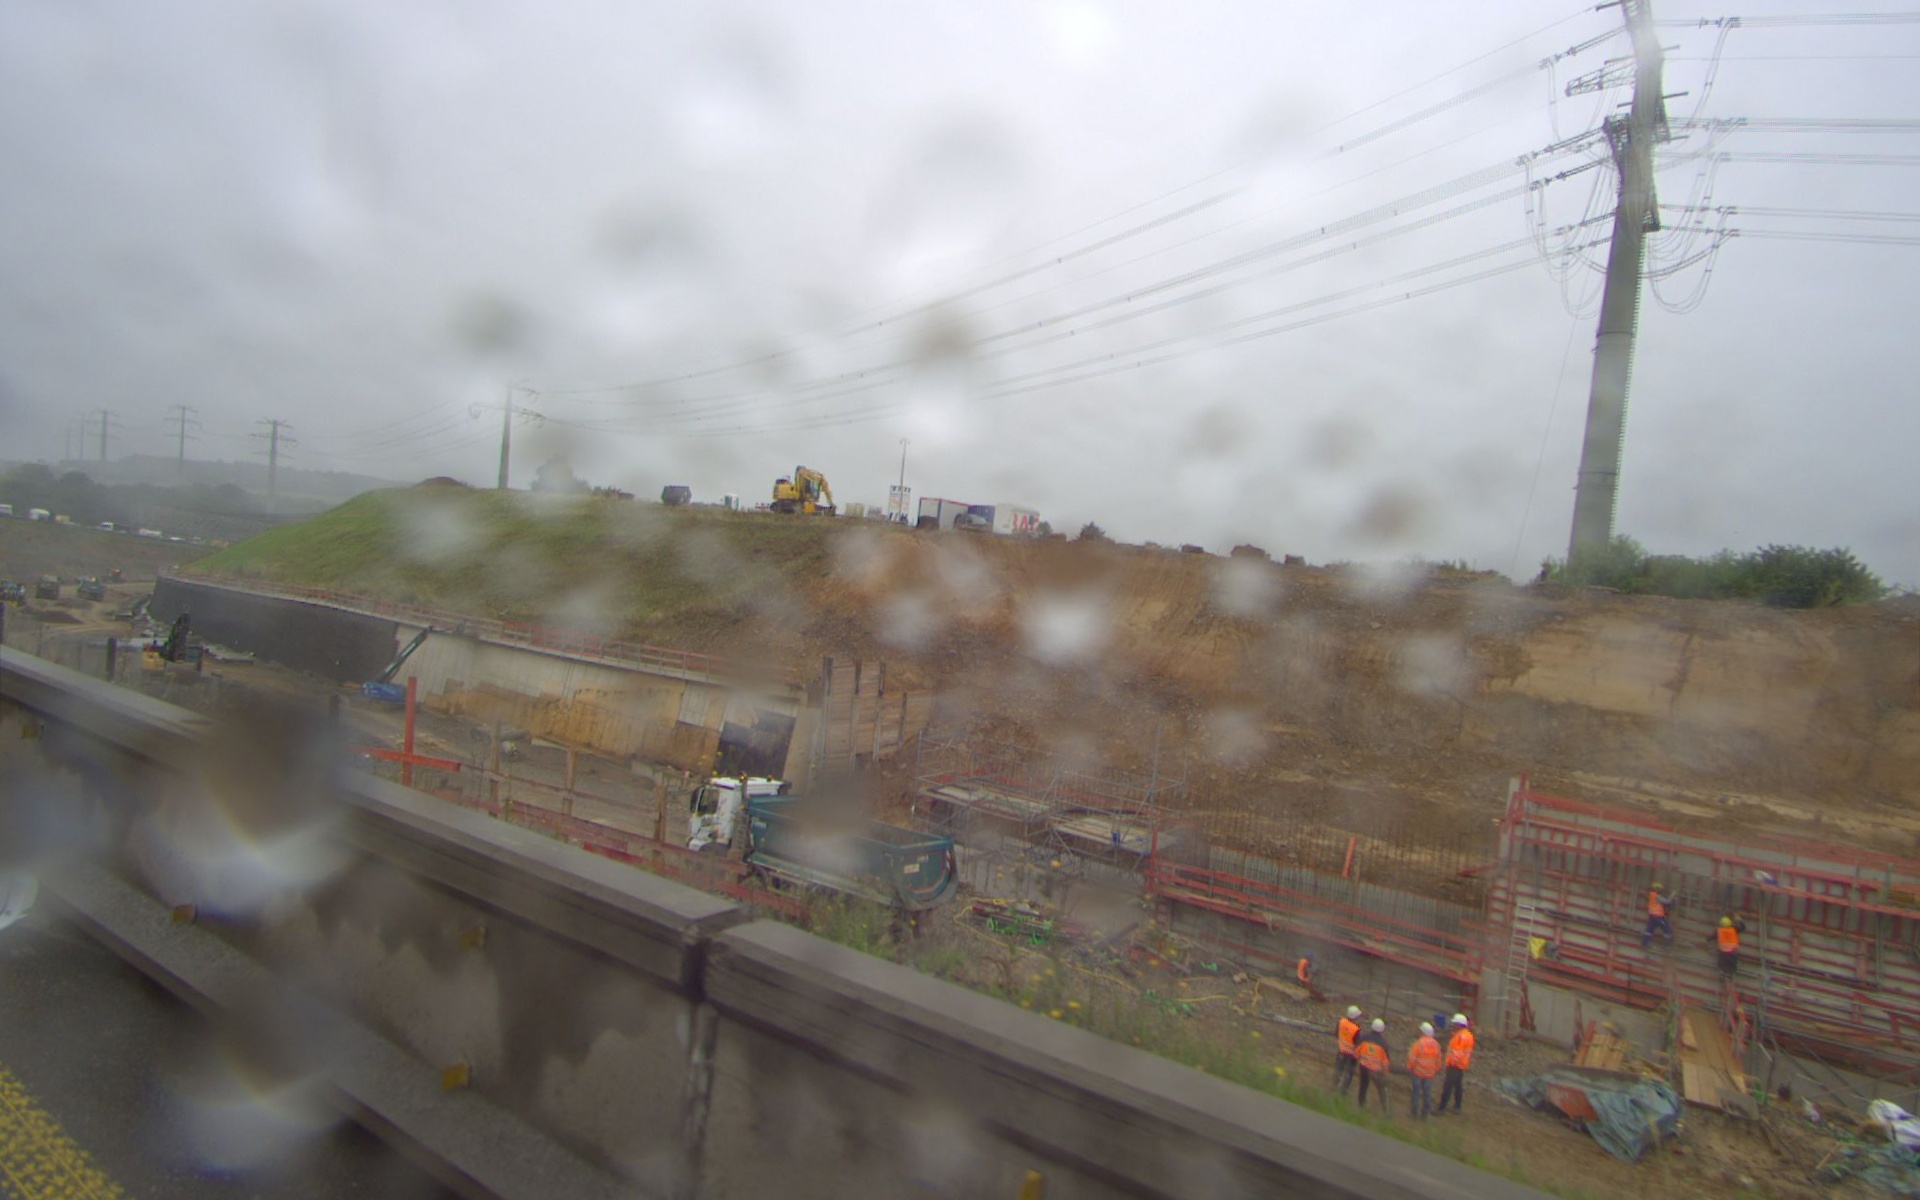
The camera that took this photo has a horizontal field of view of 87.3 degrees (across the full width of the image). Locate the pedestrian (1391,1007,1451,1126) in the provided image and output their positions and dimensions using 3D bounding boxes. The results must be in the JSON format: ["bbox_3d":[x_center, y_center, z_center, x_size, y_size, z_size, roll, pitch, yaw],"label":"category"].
[{"bbox_3d":[8.931,9.023,19.508,0.721,1.967,0.575,6,-1,3],"label":"pedestrian"}]

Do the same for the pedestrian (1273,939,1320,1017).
[{"bbox_3d":[10.159,11.367,30.337,0.891,2.013,0.901,5,-11,35],"label":"pedestrian"}]

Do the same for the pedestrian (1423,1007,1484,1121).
[{"bbox_3d":[9.742,9.133,19.865,0.725,1.967,0.573,7,-1,-21],"label":"pedestrian"}]

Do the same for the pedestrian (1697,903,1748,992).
[{"bbox_3d":[19.878,9.046,26.250,0.885,2.013,0.908,5,-11,35],"label":"pedestrian"}]

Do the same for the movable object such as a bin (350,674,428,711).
[{"bbox_3d":[-37.451,6.030,66.043,3.772,2.035,2.002,6,-4,-6],"label":"movable object such as a bin"}]

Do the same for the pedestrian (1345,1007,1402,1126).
[{"bbox_3d":[7.996,9.008,19.466,0.724,1.892,0.573,6,-1,38],"label":"pedestrian"}]

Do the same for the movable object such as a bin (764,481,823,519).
[{"bbox_3d":[-13.523,-8.142,81.689,3.910,2.473,2.428,8,0,39],"label":"movable object such as a bin"}]

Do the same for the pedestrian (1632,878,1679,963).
[{"bbox_3d":[18.745,8.623,27.113,0.885,2.013,0.908,5,-11,35],"label":"pedestrian"}]

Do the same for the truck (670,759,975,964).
[{"bbox_3d":[-4.159,7.096,28.776,8.925,3.531,2.731,5,-2,36],"label":"truck"}]

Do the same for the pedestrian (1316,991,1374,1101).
[{"bbox_3d":[7.793,9.018,20.389,0.567,1.892,0.731,7,-1,-22],"label":"pedestrian"}]
